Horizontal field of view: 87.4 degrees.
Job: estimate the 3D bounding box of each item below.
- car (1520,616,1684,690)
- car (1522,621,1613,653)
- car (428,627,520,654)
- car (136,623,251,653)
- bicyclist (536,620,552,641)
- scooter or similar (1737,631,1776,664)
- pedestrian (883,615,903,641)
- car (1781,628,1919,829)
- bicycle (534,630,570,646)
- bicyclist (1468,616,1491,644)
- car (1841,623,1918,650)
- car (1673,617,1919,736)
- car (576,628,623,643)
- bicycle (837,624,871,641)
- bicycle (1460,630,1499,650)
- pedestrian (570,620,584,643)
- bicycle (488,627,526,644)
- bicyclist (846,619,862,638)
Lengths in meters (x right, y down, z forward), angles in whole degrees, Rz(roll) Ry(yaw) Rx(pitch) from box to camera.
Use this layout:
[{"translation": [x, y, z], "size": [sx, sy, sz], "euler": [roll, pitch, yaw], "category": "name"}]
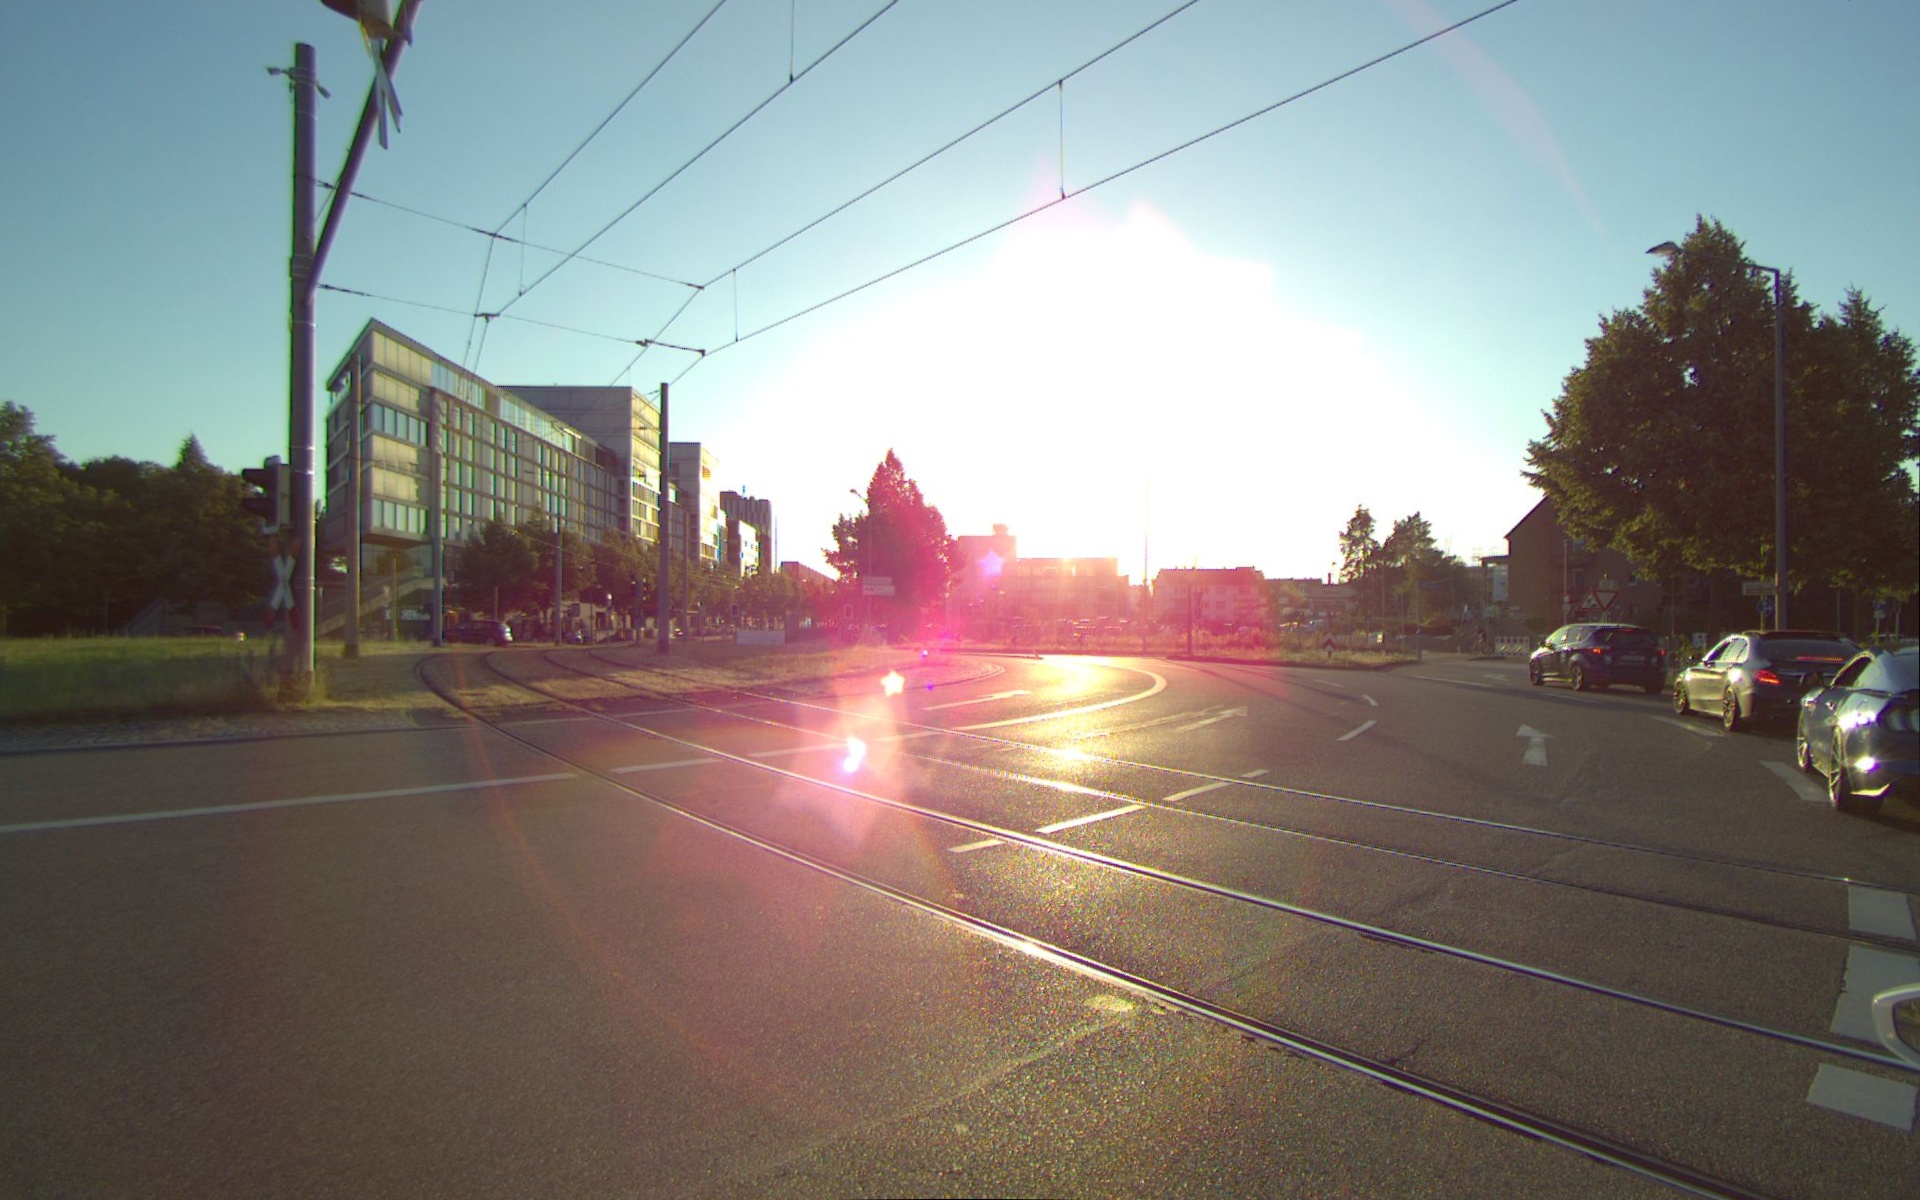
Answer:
[{"translation": [15.547, 1.259, 24.591], "size": [1.918, 1.623, 4.080], "euler": [1, -2, 9], "category": "car"}, {"translation": [28.011, 1.688, 46.315], "size": [3.865, 1.420, 1.869], "euler": [1, -1, -27], "category": "car"}, {"translation": [-27.400, 2.265, 56.707], "size": [4.237, 1.451, 1.944], "euler": [0, -1, -3], "category": "car"}, {"translation": [-39.712, 1.923, 52.171], "size": [4.543, 1.451, 1.928], "euler": [0, -1, -32], "category": "car"}, {"translation": [-30.429, 2.217, 73.507], "size": [0.962, 1.545, 0.752], "euler": [0, -1, -15], "category": "bicyclist"}, {"translation": [30.992, 1.836, 39.097], "size": [1.101, 1.255, 0.442], "euler": [0, -1, 17], "category": "scooter or similar"}, {"translation": [-4.765, 2.009, 71.527], "size": [1.139, 1.851, 0.979], "euler": [0, -1, 20], "category": "pedestrian"}, {"translation": [8.447, 0.951, 8.510], "size": [1.925, 1.360, 4.656], "euler": [1, -1, 35], "category": "car"}, {"translation": [-30.106, 2.778, 74.100], "size": [2.369, 1.182, 0.752], "euler": [1, -1, -14], "category": "bicycle"}, {"translation": [30.890, 1.789, 59.723], "size": [0.964, 1.634, 0.750], "euler": [1, -1, -23], "category": "bicyclist"}, {"translation": [52.138, 2.037, 56.950], "size": [3.862, 1.420, 1.871], "euler": [0, -1, -25], "category": "car"}, {"translation": [12.235, 1.024, 14.985], "size": [1.921, 1.446, 4.425], "euler": [1, -1, 26], "category": "car"}, {"translation": [-38.508, 3.803, 107.274], "size": [4.250, 1.594, 1.945], "euler": [0, -1, 1], "category": "car"}, {"translation": [-7.642, 2.355, 72.315], "size": [2.361, 1.182, 0.755], "euler": [0, -1, 16], "category": "bicycle"}, {"translation": [30.882, 2.363, 59.736], "size": [2.375, 1.182, 0.750], "euler": [1, -1, -24], "category": "bicycle"}, {"translation": [-29.046, 2.413, 76.163], "size": [0.872, 1.730, 0.793], "euler": [0, -1, -8], "category": "pedestrian"}, {"translation": [-32.696, 2.564, 72.566], "size": [2.367, 1.182, 0.753], "euler": [0, -1, -11], "category": "bicycle"}, {"translation": [-7.633, 2.054, 72.298], "size": [0.959, 1.412, 0.755], "euler": [0, -1, 16], "category": "bicyclist"}]
